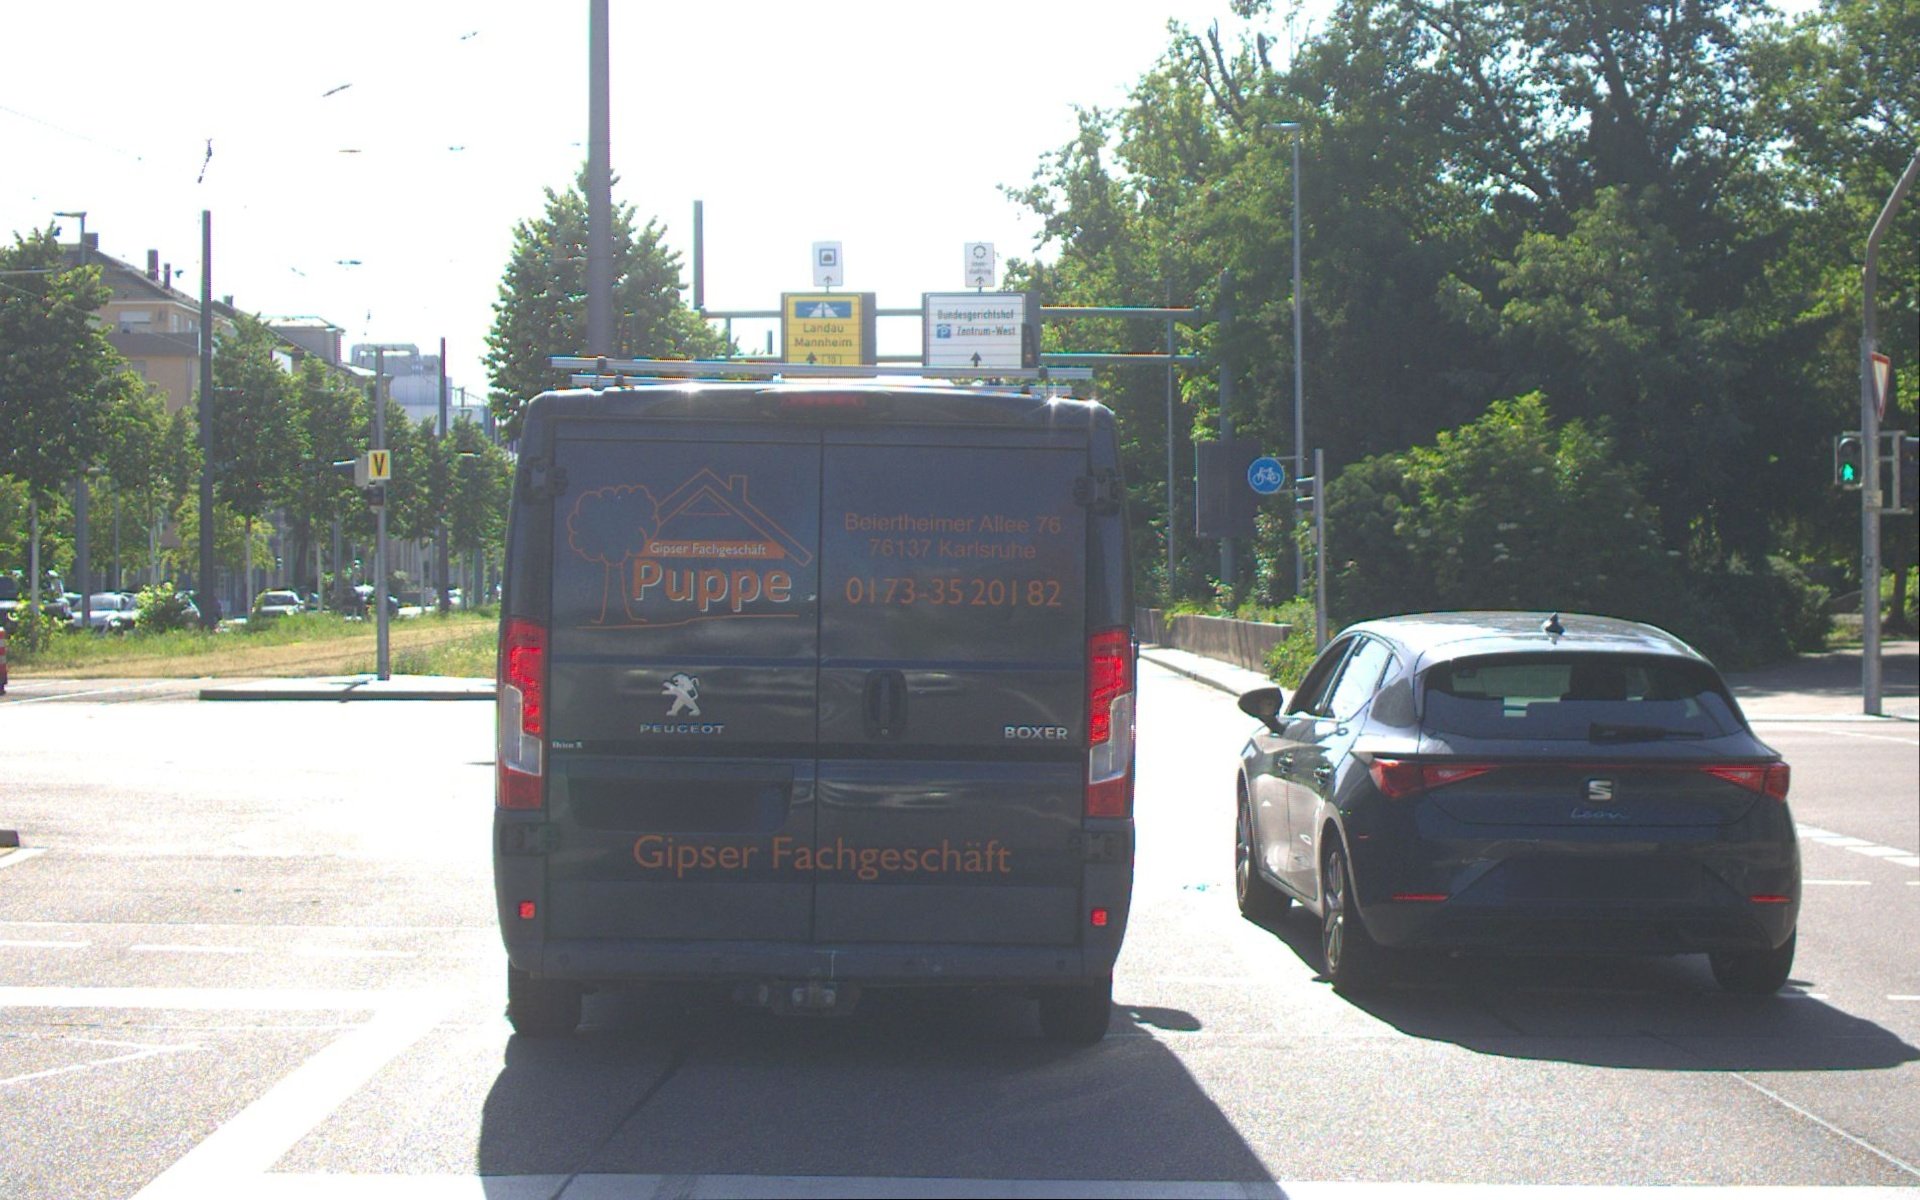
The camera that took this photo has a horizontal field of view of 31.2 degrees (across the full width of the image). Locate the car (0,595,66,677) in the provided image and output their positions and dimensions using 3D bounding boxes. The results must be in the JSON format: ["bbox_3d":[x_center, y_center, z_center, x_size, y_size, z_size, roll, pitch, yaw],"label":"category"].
[{"bbox_3d":[-20.014,0.730,71.501,1.790,1.645,4.000,0,0,0],"label":"car"}]

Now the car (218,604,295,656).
[{"bbox_3d":[-23.595,0.994,115.417,1.790,1.645,4.000,0,0,0],"label":"car"}]

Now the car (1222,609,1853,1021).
[{"bbox_3d":[2.216,0.776,14.213,1.791,1.423,3.850,1,0,-2],"label":"car"}]

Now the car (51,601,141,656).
[{"bbox_3d":[-26.760,0.865,106.538,1.790,1.645,4.000,0,0,0],"label":"car"}]

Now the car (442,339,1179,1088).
[{"bbox_3d":[-0.532,0.318,12.798,2.218,2.259,4.484,1,1,-2],"label":"car"}]

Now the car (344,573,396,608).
[{"bbox_3d":[-28.073,-0.456,163.595,1.790,1.645,4.000,0,0,0],"label":"car"}]

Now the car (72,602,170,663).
[{"bbox_3d":[-23.744,0.913,97.418,1.790,1.645,4.000,0,0,0],"label":"car"}]

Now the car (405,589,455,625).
[{"bbox_3d":[-25.264,0.322,164.063,1.790,1.645,4.000,0,0,0],"label":"car"}]
